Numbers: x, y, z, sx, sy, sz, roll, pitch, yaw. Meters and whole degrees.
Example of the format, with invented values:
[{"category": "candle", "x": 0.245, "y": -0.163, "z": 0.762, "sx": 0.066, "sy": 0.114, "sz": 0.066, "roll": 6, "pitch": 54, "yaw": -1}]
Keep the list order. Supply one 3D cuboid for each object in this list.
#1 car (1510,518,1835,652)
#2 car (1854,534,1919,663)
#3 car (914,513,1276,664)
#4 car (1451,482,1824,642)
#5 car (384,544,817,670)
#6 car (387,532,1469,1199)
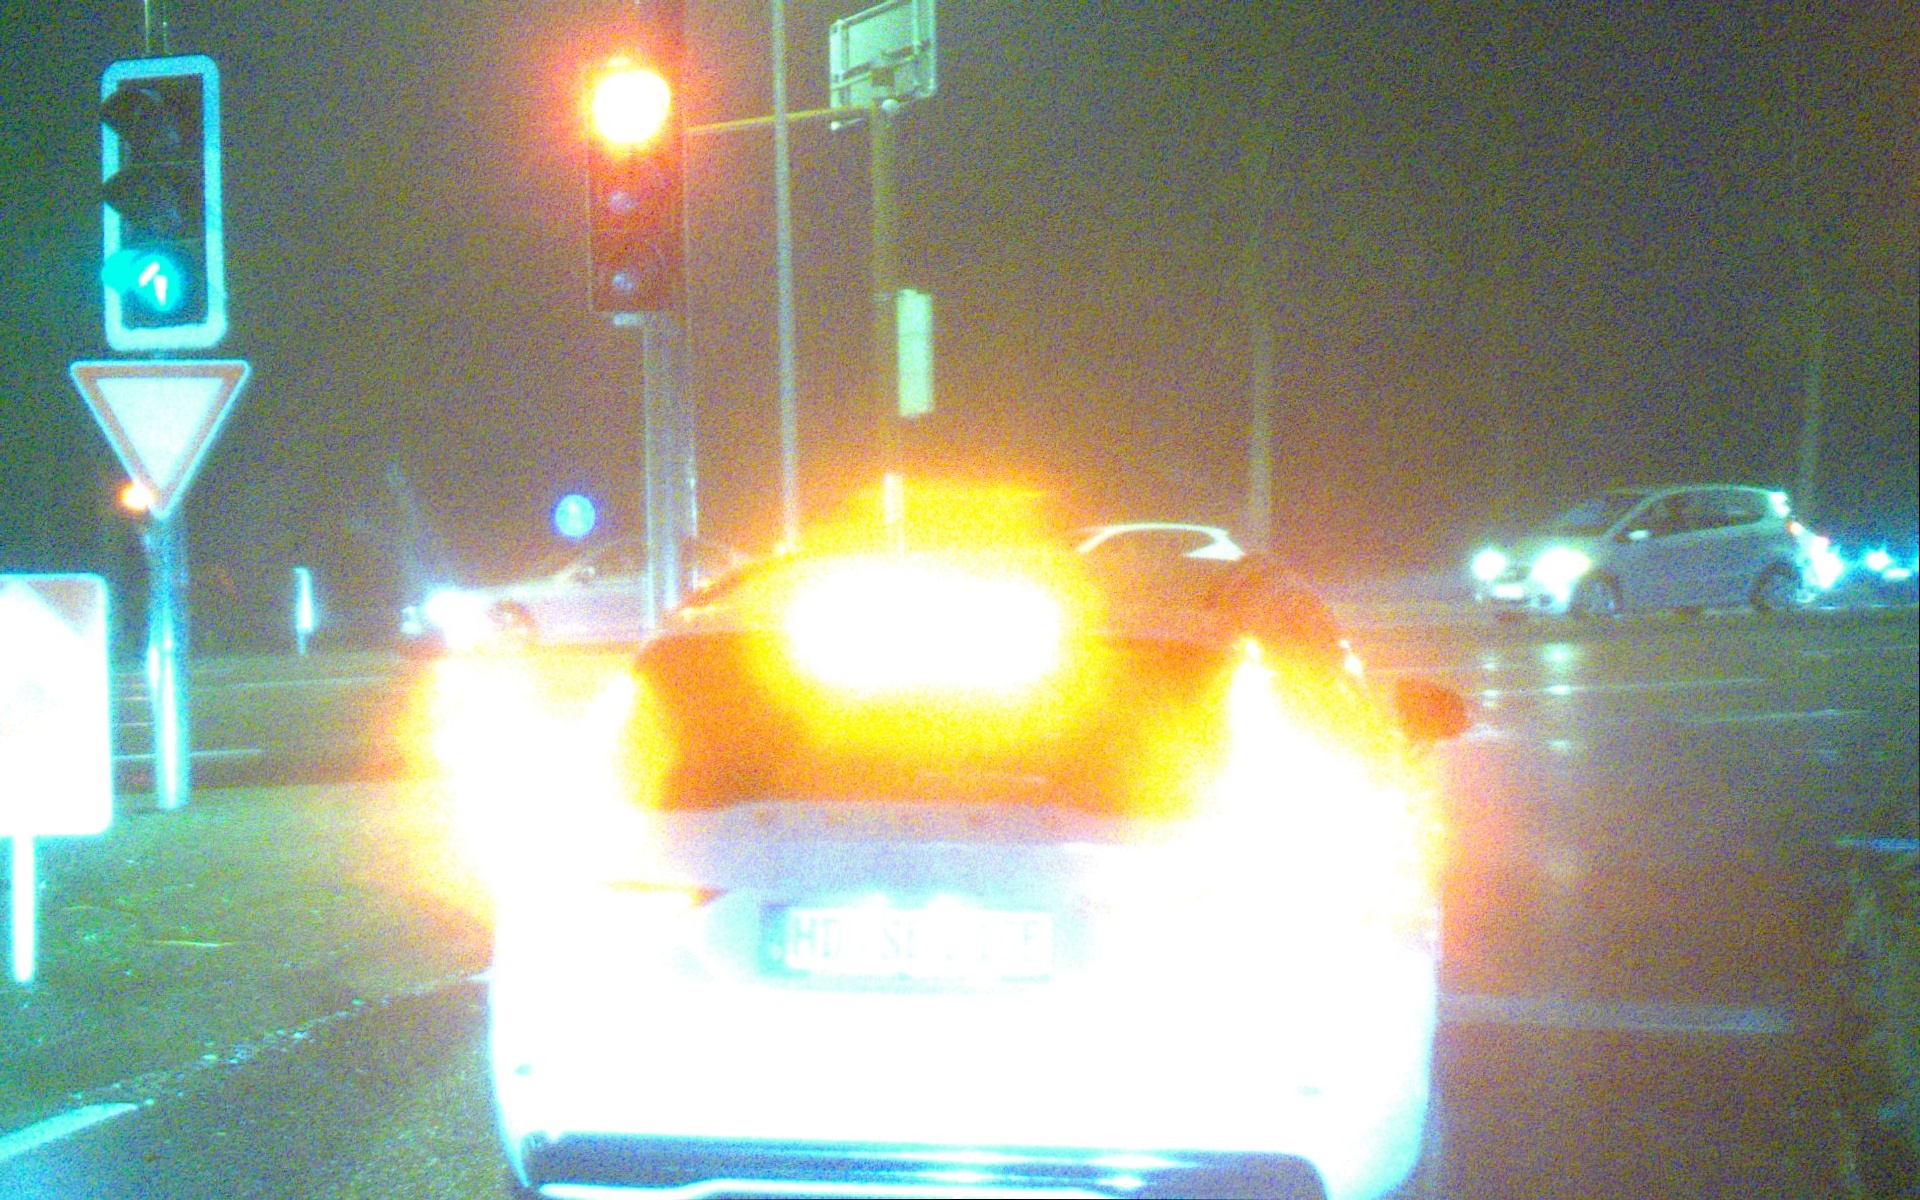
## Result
[{"category": "car", "x": 9.957, "y": -0.207, "z": 48.005, "sx": 4.236, "sy": 1.793, "sz": 1.804, "roll": 0, "pitch": 0, "yaw": -27}, {"category": "car", "x": 15.363, "y": -0.027, "z": 50.632, "sx": 4.110, "sy": 1.842, "sz": 1.766, "roll": 0, "pitch": 0, "yaw": -27}, {"category": "car", "x": 1.728, "y": -0.151, "z": 43.647, "sx": 4.270, "sy": 1.842, "sz": 1.766, "roll": 0, "pitch": 0, "yaw": -27}, {"category": "car", "x": 7.790, "y": -0.464, "z": 39.512, "sx": 3.888, "sy": 1.719, "sz": 1.766, "roll": -2, "pitch": 2, "yaw": -25}, {"category": "car", "x": -4.245, "y": 0.075, "z": 40.719, "sx": 4.786, "sy": 1.422, "sz": 1.766, "roll": 0, "pitch": 0, "yaw": -26}, {"category": "car", "x": 0.234, "y": 0.591, "z": 7.925, "sx": 1.797, "sy": 1.447, "sz": 4.267, "roll": 0, "pitch": 2, "yaw": 9}]
